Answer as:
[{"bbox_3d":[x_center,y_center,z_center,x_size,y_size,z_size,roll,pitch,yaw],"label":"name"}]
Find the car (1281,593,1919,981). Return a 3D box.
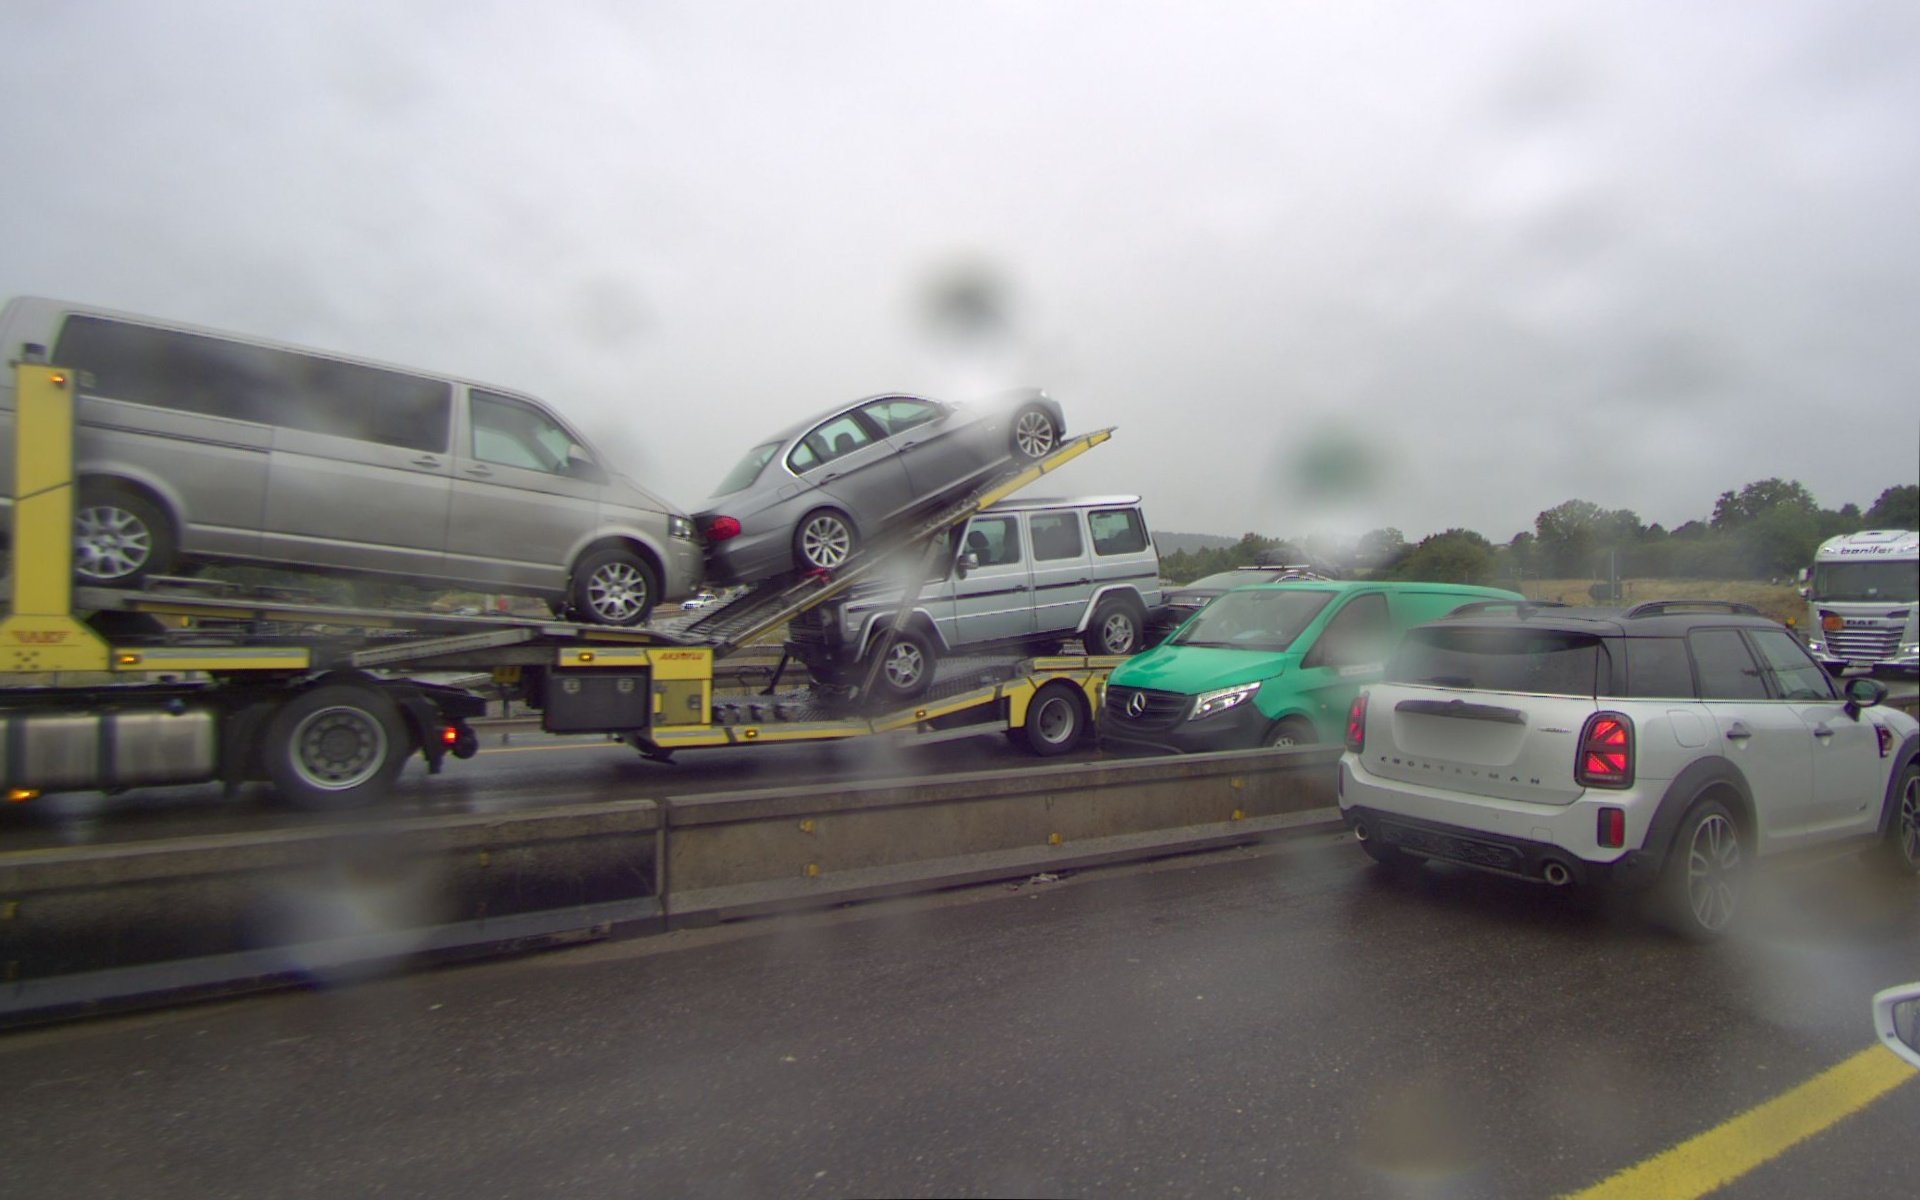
[{"bbox_3d":[4.116,0.799,6.084,4.259,1.622,1.806,0,0,-31],"label":"car"}]

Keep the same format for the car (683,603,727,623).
[{"bbox_3d":[-23.071,1.148,91.001,1.813,1.723,5.049,1,-1,12],"label":"car"}]

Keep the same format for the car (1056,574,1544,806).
[{"bbox_3d":[3.387,0.725,9.765,4.633,1.782,1.984,1,0,-31],"label":"car"}]

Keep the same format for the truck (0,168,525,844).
[{"bbox_3d":[-6.620,-0.571,7.243,6.077,4.116,2.736,1,0,-31],"label":"truck"}]

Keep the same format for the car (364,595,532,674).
[{"bbox_3d":[-14.664,0.945,29.156,2.029,2.090,4.846,1,-1,5],"label":"car"}]

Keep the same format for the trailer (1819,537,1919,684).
[{"bbox_3d":[28.948,0.348,29.185,11.868,3.726,2.606,1,0,-32],"label":"trailer"}]

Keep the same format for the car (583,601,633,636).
[{"bbox_3d":[-18.560,0.941,53.106,1.818,1.723,5.034,1,-1,-12],"label":"car"}]

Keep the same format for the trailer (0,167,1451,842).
[{"bbox_3d":[-0.538,-0.449,10.892,15.182,4.096,2.735,1,0,-31],"label":"trailer"}]

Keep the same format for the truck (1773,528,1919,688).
[{"bbox_3d":[24.197,0.245,26.220,6.521,3.726,2.606,1,0,-32],"label":"truck"}]
